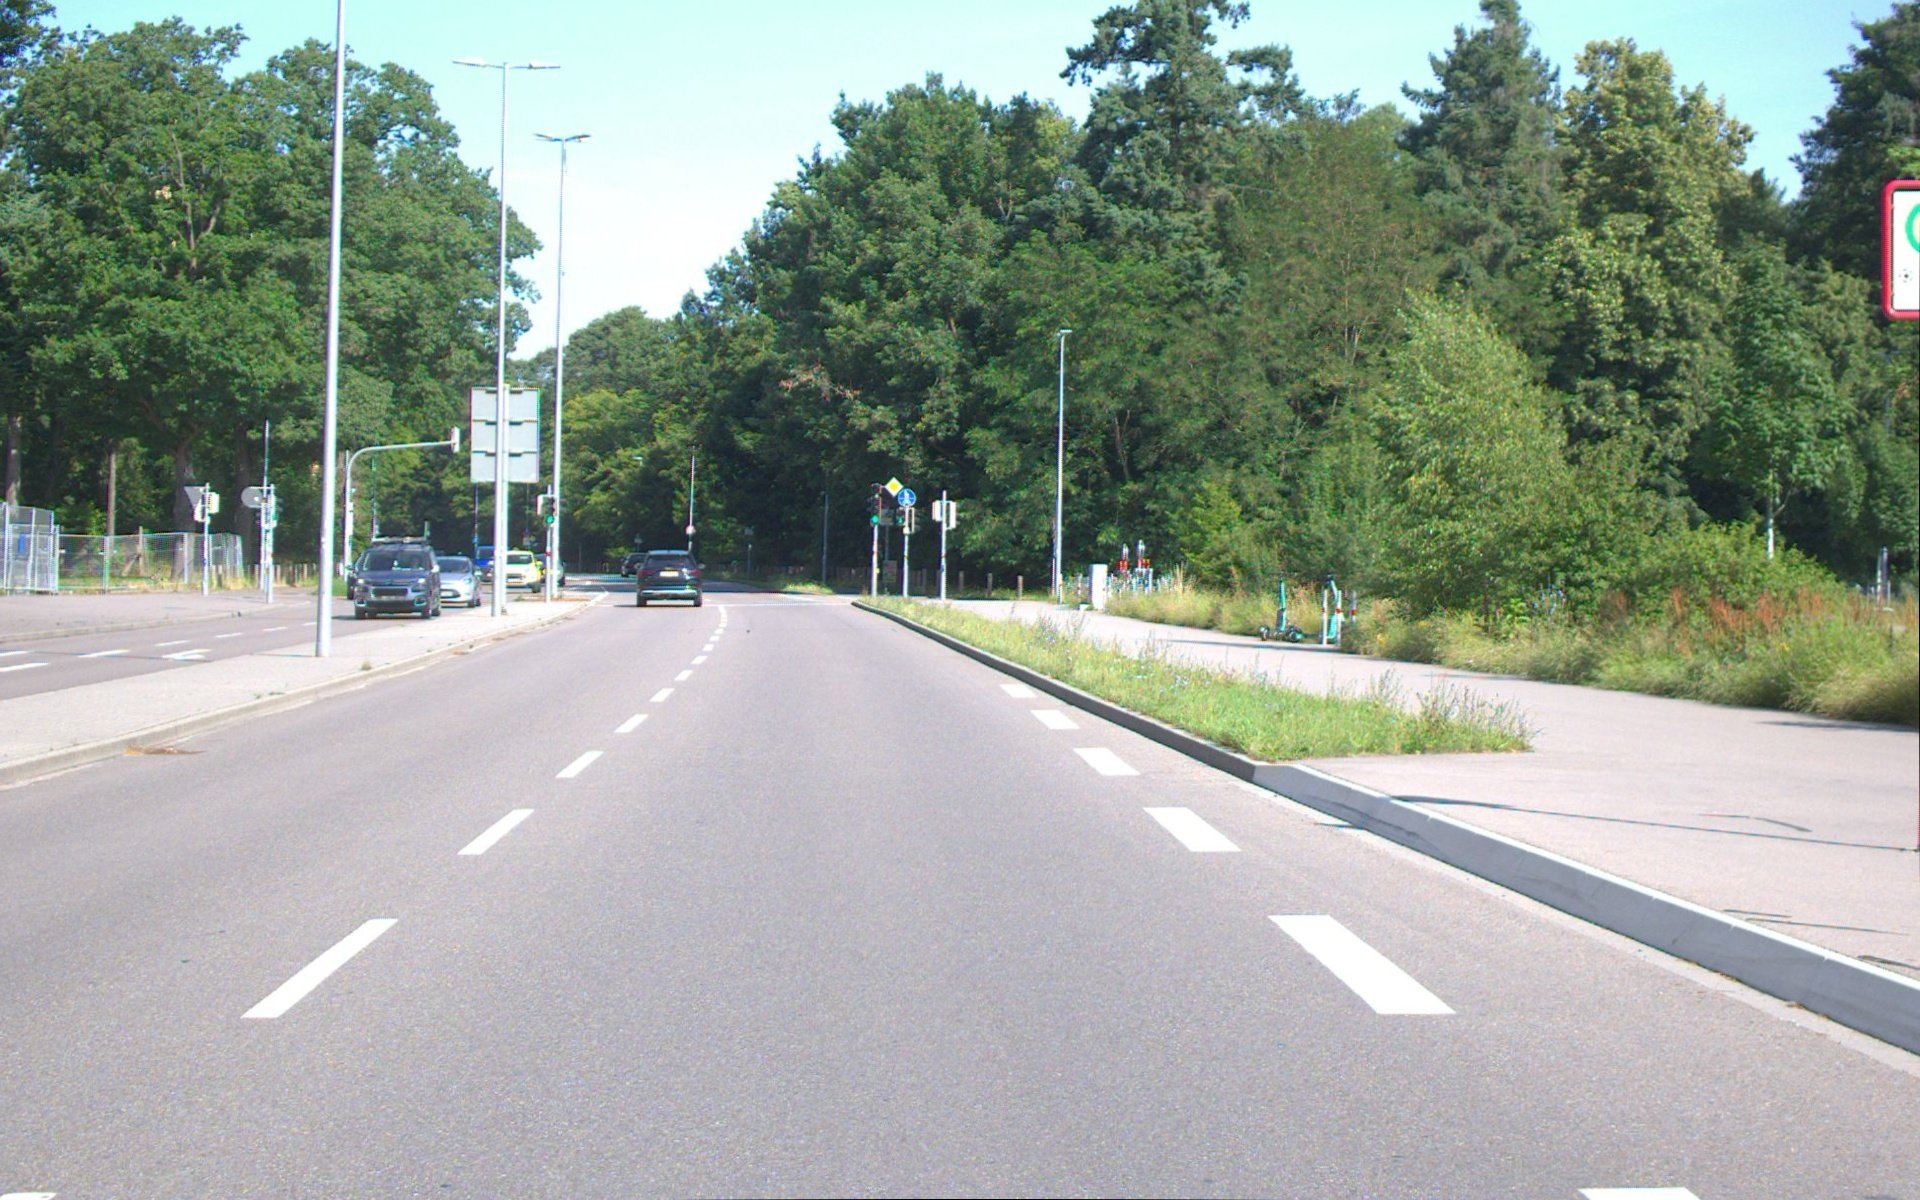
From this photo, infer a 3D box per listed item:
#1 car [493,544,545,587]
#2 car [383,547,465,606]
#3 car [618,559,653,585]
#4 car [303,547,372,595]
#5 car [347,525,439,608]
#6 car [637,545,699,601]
[{"bbox_3d":[-17.152,-1.352,133.740,1.845,1.612,4.001,2,1,-5],"label":"car"},{"bbox_3d":[-15.119,-0.675,97.086,1.909,1.579,4.001,1,1,-4],"label":"car"},{"bbox_3d":[-19.069,-1.640,201.929,1.940,1.415,4.294,1,1,-6],"label":"car"},{"bbox_3d":[-19.949,-0.940,110.243,1.794,1.473,4.001,1,1,-5],"label":"car"},{"bbox_3d":[-13.657,-0.819,83.054,1.841,1.925,4.630,0,1,-5],"label":"car"},{"bbox_3d":[-8.218,-0.781,96.866,1.687,1.539,4.149,0,1,-5],"label":"car"}]
